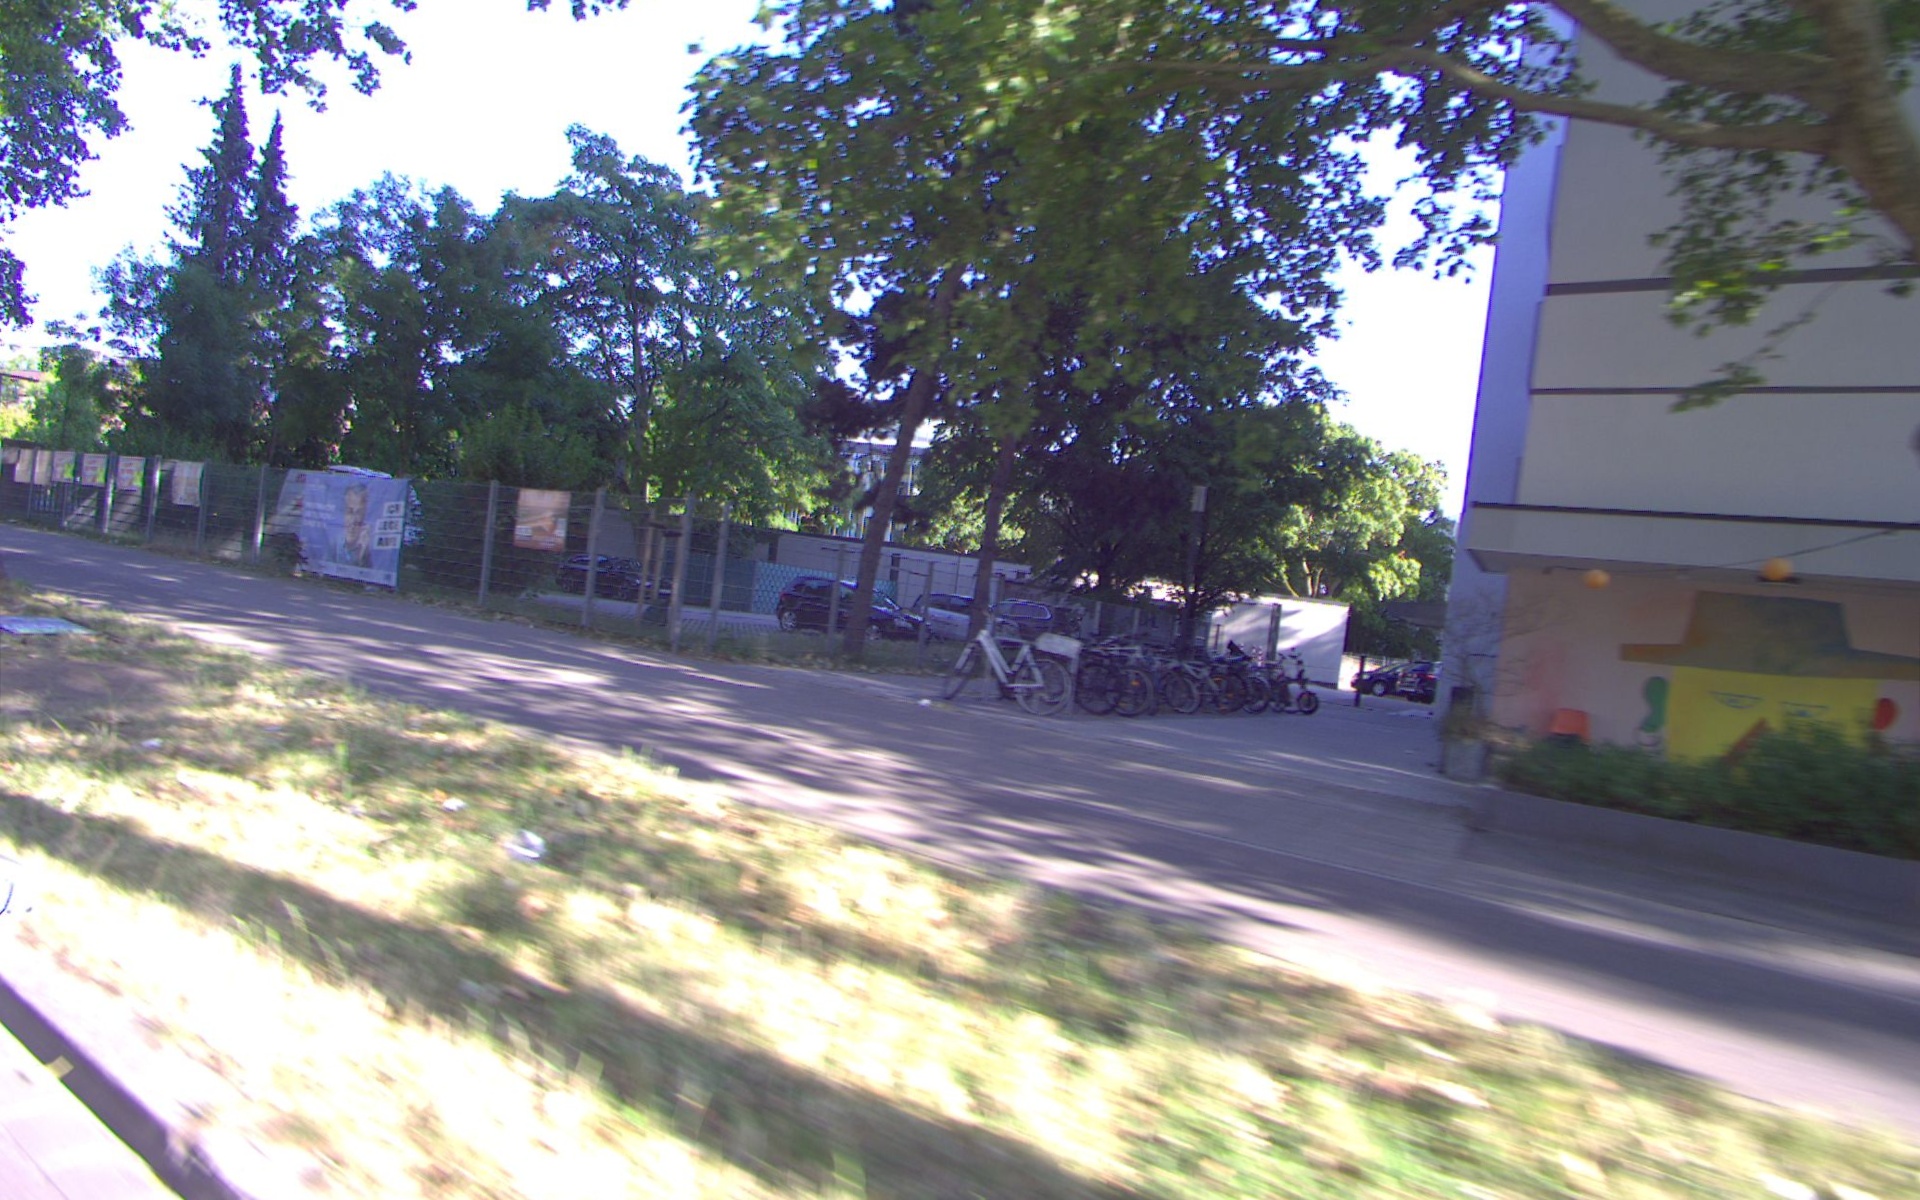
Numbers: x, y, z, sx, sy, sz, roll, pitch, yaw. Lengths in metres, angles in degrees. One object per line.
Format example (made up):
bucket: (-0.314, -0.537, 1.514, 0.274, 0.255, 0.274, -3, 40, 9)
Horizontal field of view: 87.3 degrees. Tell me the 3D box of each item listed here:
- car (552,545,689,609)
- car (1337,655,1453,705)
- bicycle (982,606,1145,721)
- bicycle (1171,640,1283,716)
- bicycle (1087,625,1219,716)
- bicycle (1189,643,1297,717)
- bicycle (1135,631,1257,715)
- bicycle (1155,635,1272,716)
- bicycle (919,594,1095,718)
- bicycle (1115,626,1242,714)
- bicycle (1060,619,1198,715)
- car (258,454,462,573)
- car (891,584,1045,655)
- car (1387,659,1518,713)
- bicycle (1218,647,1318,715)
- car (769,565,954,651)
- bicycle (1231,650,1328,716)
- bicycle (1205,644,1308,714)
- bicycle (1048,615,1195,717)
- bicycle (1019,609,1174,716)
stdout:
car: (-11.173, -0.768, 33.103, 3.931, 1.469, 1.999, 7, -2, 28)
car: (18.471, 3.388, 42.810, 3.927, 1.469, 2.001, 8, -2, 0)
bicycle: (1.324, 0.810, 12.932, 1.790, 1.191, 0.791, 7, -2, 32)
bicycle: (5.118, 1.490, 19.317, 1.790, 1.191, 0.791, 7, -2, 32)
bicycle: (3.105, 1.135, 16.217, 1.790, 1.191, 0.791, 7, -2, 32)
bicycle: (5.612, 1.591, 19.989, 1.790, 1.191, 0.791, 7, -2, 32)
bicycle: (4.110, 1.267, 17.561, 1.790, 1.191, 0.791, 7, -2, 32)
bicycle: (4.632, 1.380, 18.409, 1.790, 1.191, 0.791, 7, -2, 32)
bicycle: (0.545, 0.653, 11.925, 1.790, 1.191, 0.791, 7, -2, 32)
bicycle: (3.658, 1.173, 16.854, 1.790, 1.191, 0.791, 7, -2, 32)
bicycle: (2.586, 1.025, 15.426, 1.790, 1.191, 0.791, 7, -2, 32)
car: (-16.202, -2.371, 27.021, 6.244, 2.528, 1.997, 7, -2, 34)
car: (0.228, 0.562, 29.636, 3.931, 1.469, 1.999, 7, -2, 28)
car: (18.957, 3.295, 38.864, 3.927, 1.469, 2.001, 8, -2, 0)
bicycle: (6.637, 1.740, 21.677, 1.790, 1.191, 0.791, 7, -2, 32)
car: (-2.411, 0.200, 24.656, 3.931, 1.469, 1.999, 7, -2, 28)
bicycle: (7.101, 1.839, 22.395, 1.790, 1.191, 0.791, 7, -2, 32)
bicycle: (6.169, 1.640, 20.933, 1.790, 1.191, 0.791, 7, -2, 32)
bicycle: (2.316, 0.946, 14.475, 1.790, 1.191, 0.791, 7, -2, 32)
bicycle: (1.852, 0.846, 13.727, 1.790, 1.191, 0.791, 7, -2, 32)
